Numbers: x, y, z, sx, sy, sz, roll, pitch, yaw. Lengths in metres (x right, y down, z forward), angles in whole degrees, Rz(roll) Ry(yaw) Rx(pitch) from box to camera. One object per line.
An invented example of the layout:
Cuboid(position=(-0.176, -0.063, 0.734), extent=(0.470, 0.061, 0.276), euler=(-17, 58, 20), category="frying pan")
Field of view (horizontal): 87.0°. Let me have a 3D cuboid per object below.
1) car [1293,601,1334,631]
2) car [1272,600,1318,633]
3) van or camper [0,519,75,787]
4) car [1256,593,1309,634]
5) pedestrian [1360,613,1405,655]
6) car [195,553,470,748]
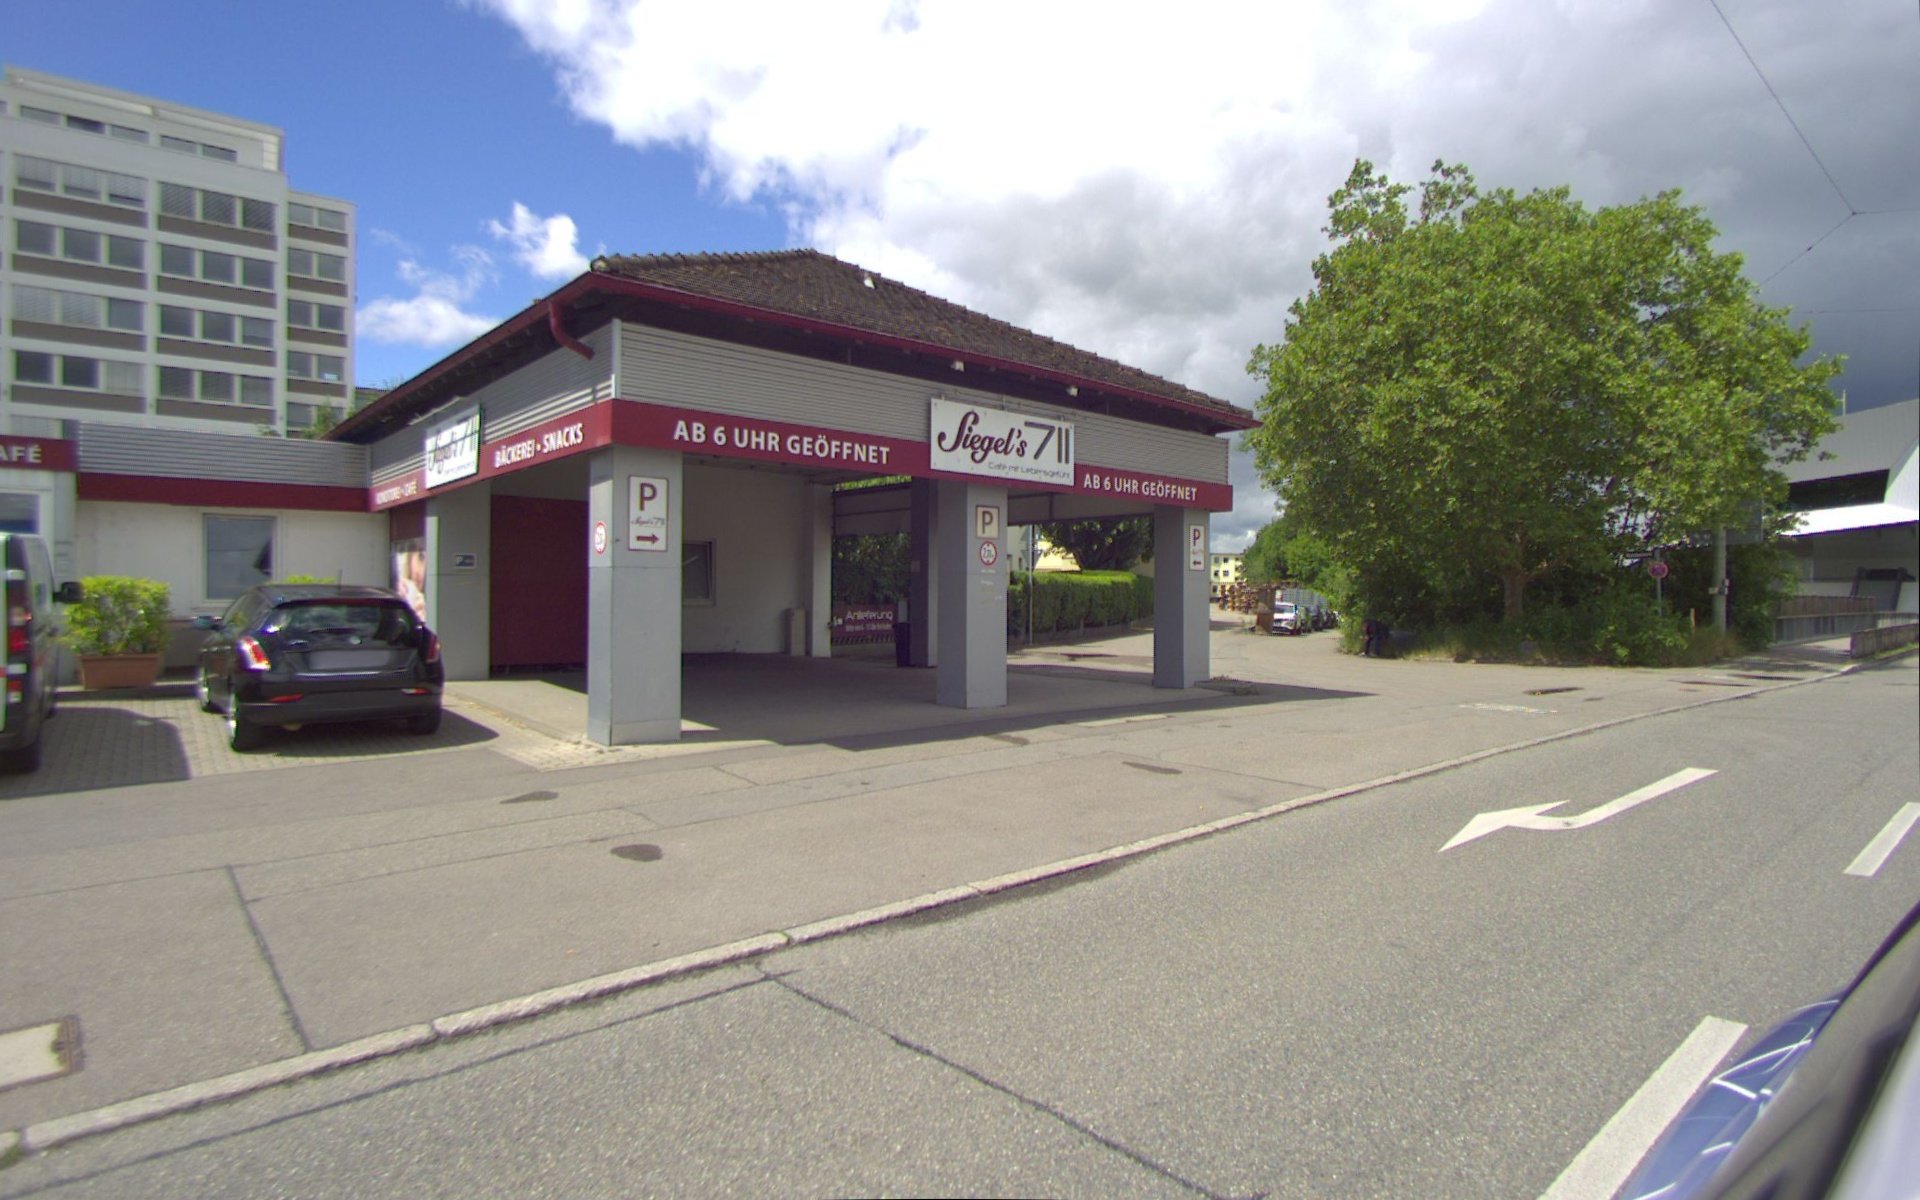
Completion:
Cuboid(position=(22.054, 0.967, 63.107), extent=(1.980, 1.526, 3.967), euler=(4, 4, 25), category="car")
Cuboid(position=(19.058, 0.888, 57.443), extent=(1.980, 1.526, 3.967), euler=(4, 4, 25), category="car")
Cuboid(position=(-9.271, 0.274, 8.819), extent=(2.173, 1.981, 4.910), euler=(-2, 4, -40), category="van or camper")
Cuboid(position=(16.525, 0.653, 51.689), extent=(1.980, 1.740, 4.078), euler=(4, 4, 25), category="car")
Cuboid(position=(13.156, 1.034, 31.512), extent=(0.945, 1.264, 0.888), euler=(0, 0, -12), category="pedestrian")
Cuboid(position=(-6.566, 0.347, 10.459), extent=(1.805, 1.503, 3.458), euler=(-2, 6, -43), category="car")
